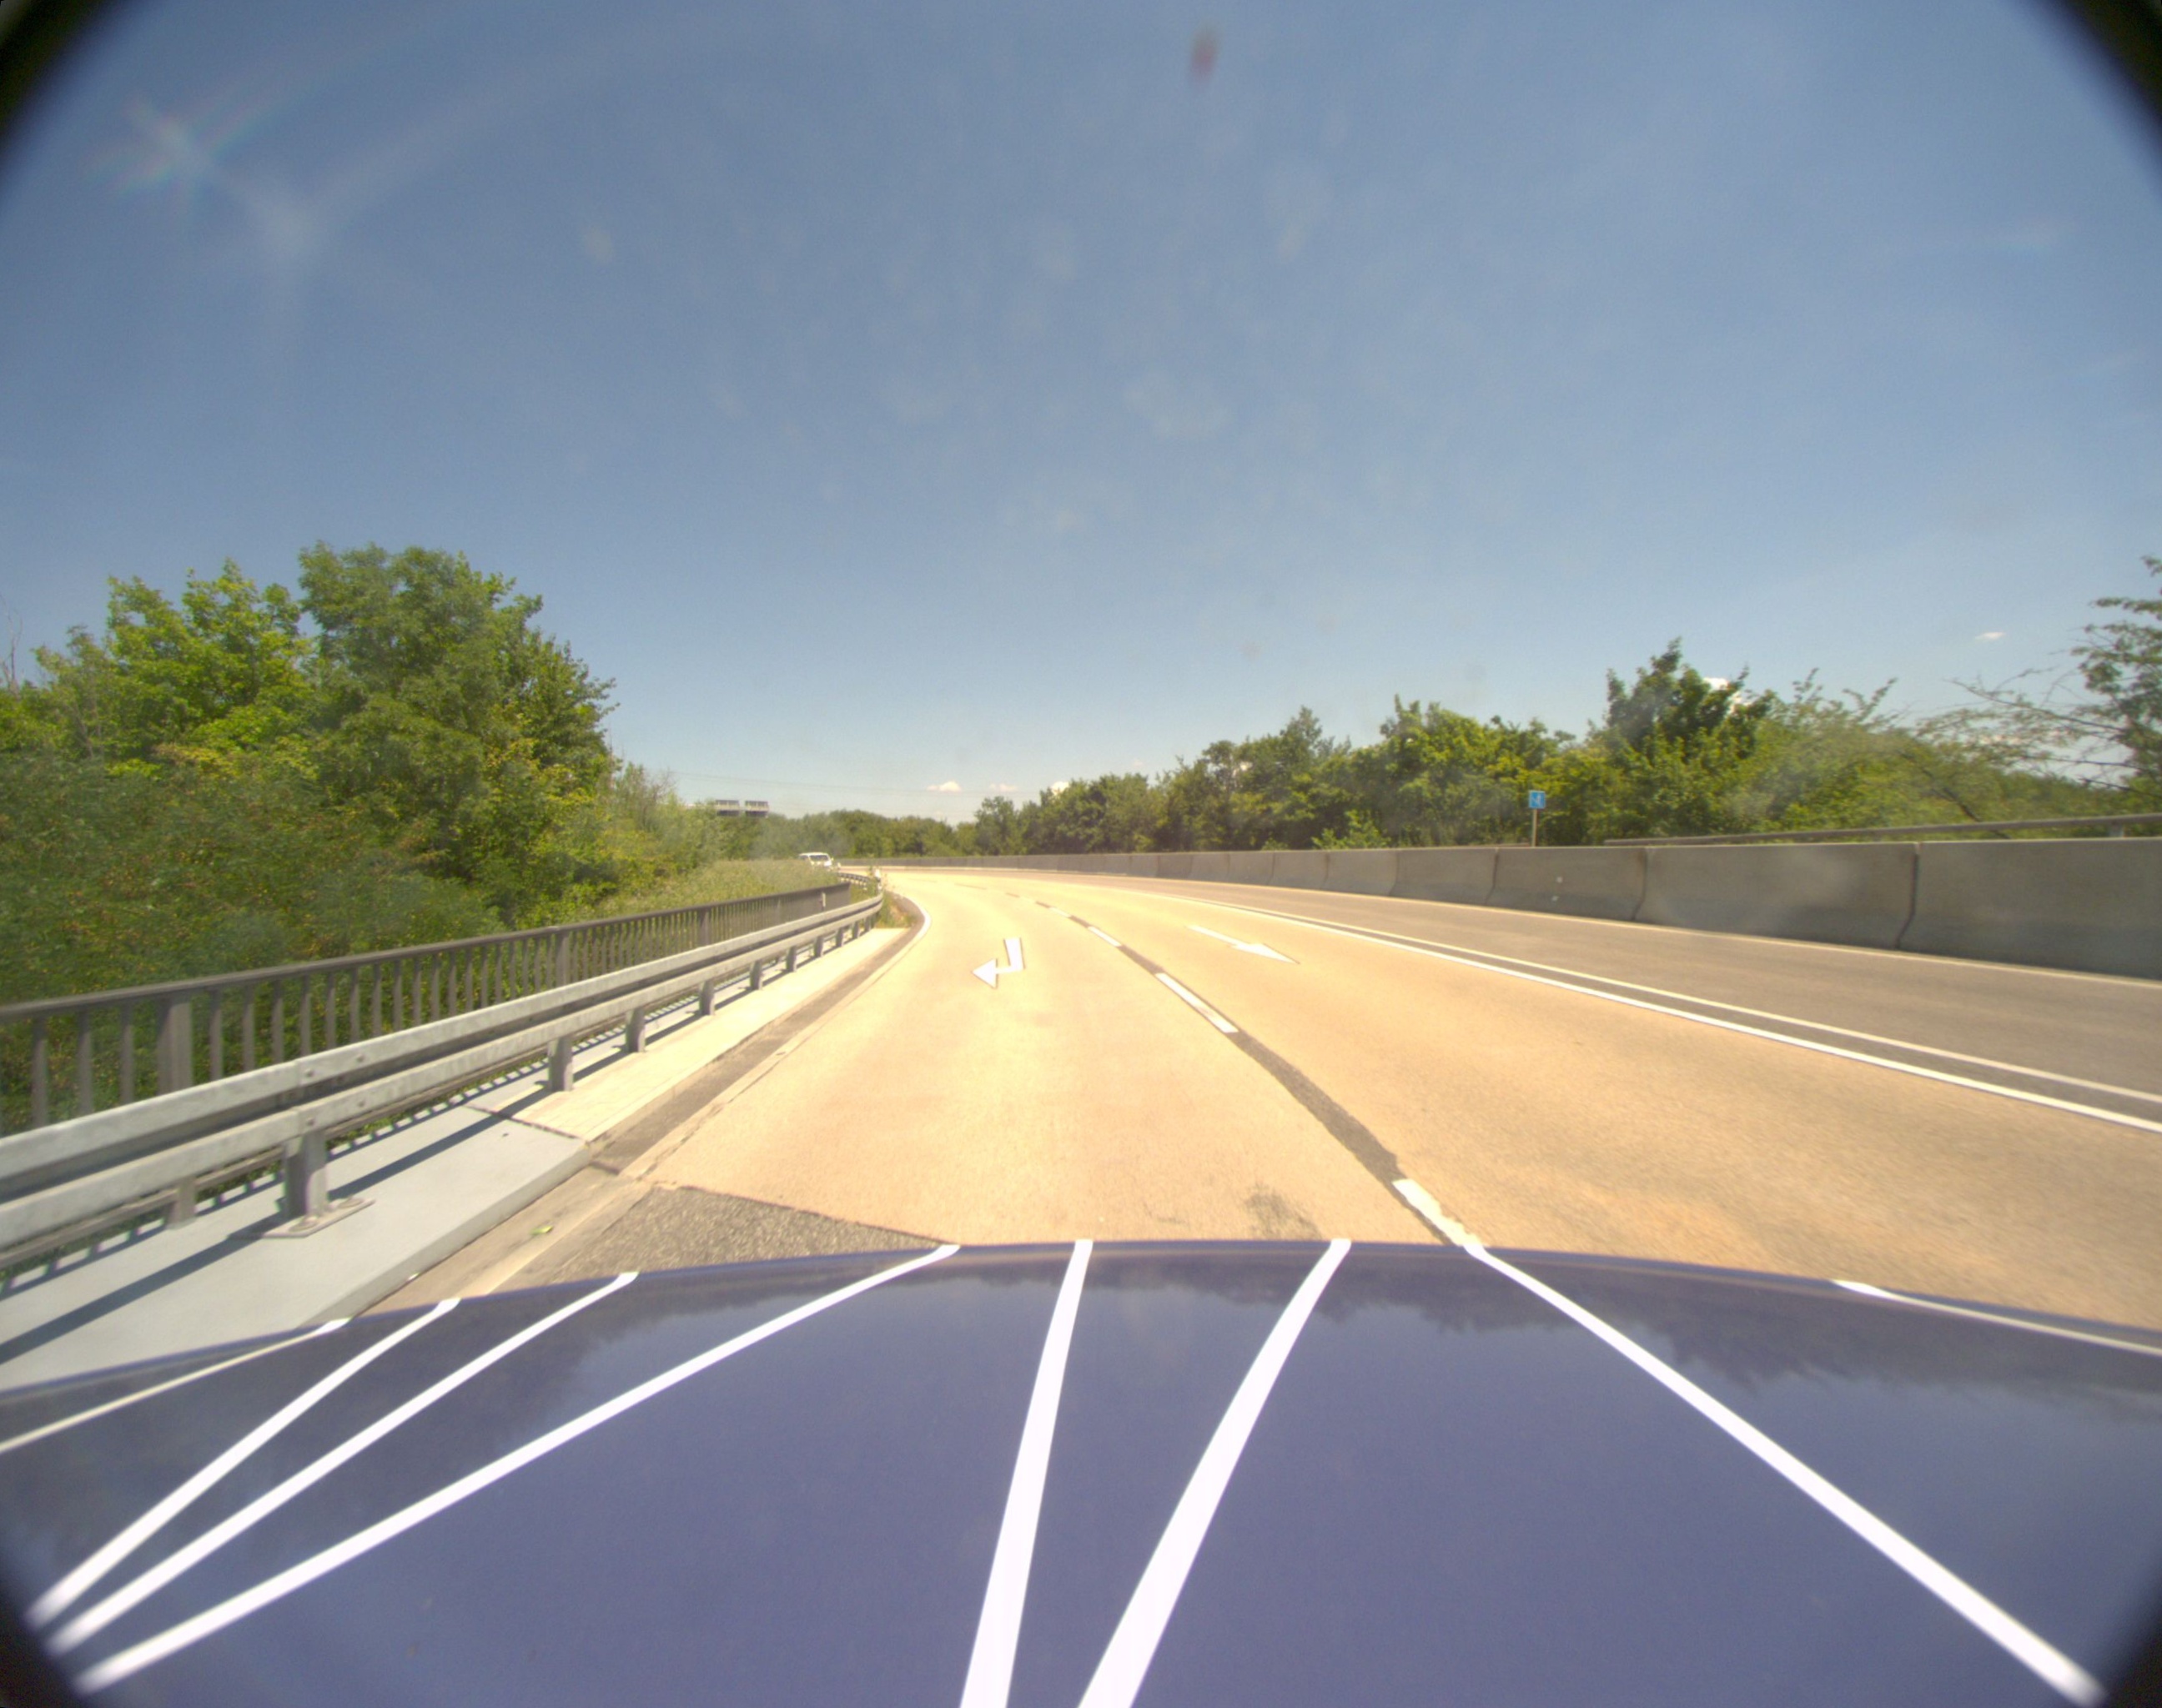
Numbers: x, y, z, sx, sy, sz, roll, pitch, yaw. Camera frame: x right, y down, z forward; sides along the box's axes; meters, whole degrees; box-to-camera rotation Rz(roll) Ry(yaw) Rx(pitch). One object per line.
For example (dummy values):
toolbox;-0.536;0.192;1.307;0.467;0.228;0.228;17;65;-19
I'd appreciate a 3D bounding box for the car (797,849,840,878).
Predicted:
car;-22.357;0.731;64.563;2.035;2.073;5.855;-3;4;-33
